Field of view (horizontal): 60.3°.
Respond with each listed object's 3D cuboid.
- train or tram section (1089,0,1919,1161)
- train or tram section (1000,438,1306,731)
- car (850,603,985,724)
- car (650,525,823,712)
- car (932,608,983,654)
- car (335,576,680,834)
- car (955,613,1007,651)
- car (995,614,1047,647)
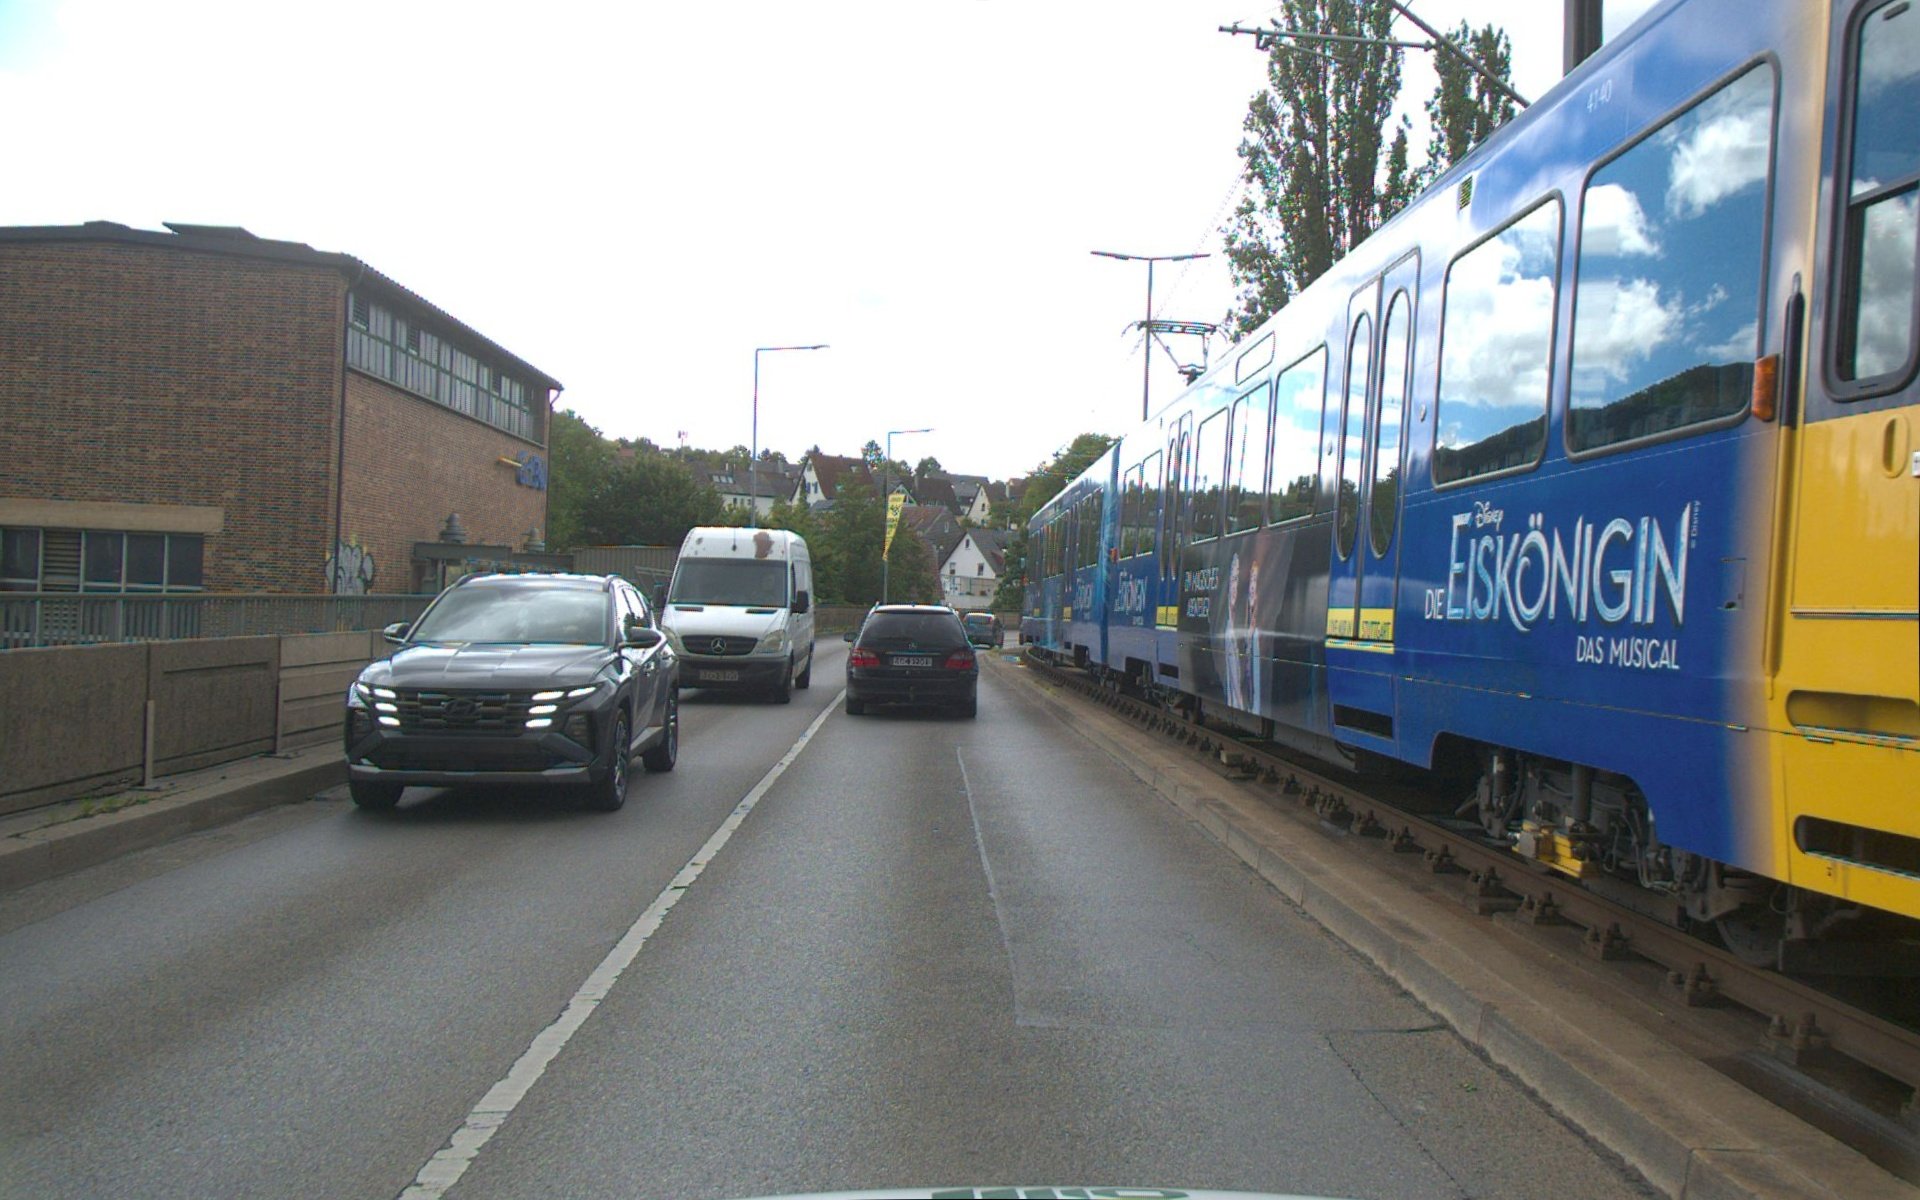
[{"bbox_3d":[3.408,-0.435,12.206,2.728,3.720,19.884,-1,-1,-2],"label":"train or tram section"},{"bbox_3d":[2.845,-0.093,32.119,2.737,3.830,19.881,2,-1,-2],"label":"train or tram section"},{"bbox_3d":[-0.626,0.811,23.333,1.723,1.542,4.440,0,0,-2],"label":"car"},{"bbox_3d":[-3.426,0.244,26.684,1.992,2.606,7.005,0,0,-2],"label":"car"},{"bbox_3d":[-0.071,1.078,58.852,1.734,1.582,4.241,0,0,1],"label":"car"},{"bbox_3d":[-3.303,0.676,12.849,1.681,1.674,3.999,0,0,-2],"label":"car"},{"bbox_3d":[0.938,1.369,72.055,1.754,1.583,4.388,1,-1,7],"label":"car"},{"bbox_3d":[3.169,1.574,85.127,1.733,1.583,4.243,2,-1,15],"label":"car"}]
